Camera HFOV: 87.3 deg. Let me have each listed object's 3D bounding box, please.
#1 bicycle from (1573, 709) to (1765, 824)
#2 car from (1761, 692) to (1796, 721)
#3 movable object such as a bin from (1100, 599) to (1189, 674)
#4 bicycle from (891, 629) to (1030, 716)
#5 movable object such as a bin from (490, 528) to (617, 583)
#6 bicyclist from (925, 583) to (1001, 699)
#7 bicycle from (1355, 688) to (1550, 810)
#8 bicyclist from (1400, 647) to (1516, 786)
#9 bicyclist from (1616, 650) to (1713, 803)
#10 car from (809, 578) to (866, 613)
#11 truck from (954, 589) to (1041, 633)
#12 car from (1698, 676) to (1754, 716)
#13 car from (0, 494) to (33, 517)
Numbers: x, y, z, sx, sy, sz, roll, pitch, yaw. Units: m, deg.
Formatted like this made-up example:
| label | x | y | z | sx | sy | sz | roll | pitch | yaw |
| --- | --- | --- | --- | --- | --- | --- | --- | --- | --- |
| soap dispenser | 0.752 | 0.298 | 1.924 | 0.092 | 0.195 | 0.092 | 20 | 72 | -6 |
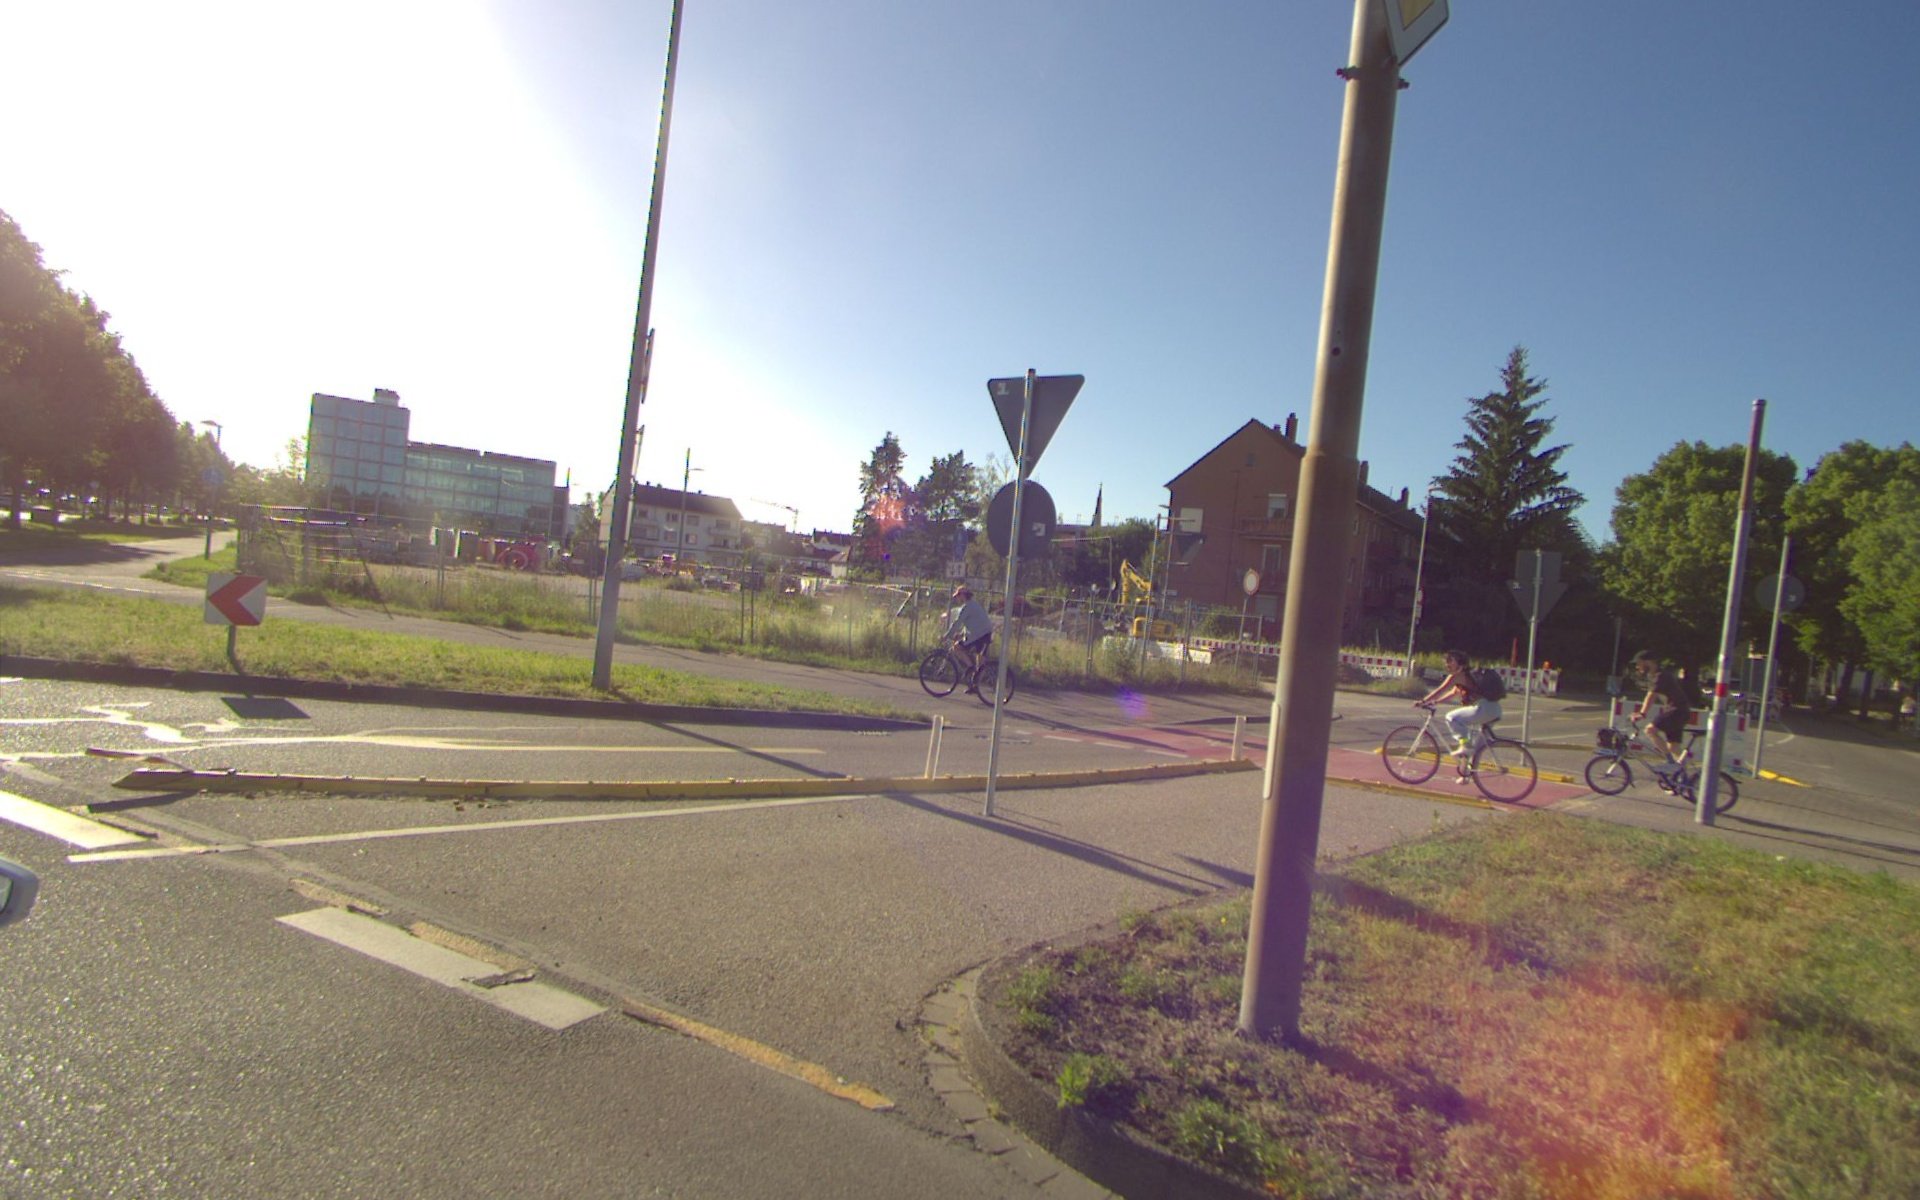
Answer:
| label | x | y | z | sx | sy | sz | roll | pitch | yaw |
| --- | --- | --- | --- | --- | --- | --- | --- | --- | --- |
| bicycle | 8.760 | 2.022 | 12.501 | 1.795 | 1.040 | 0.658 | 8 | 0 | 35 |
| car | 66.231 | 8.629 | 81.437 | 1.971 | 1.894 | 3.986 | 9 | 0 | 39 |
| movable object such as a bin | 8.063 | 1.556 | 44.463 | 2.386 | 2.807 | 3.994 | 8 | 0 | -8 |
| bicycle | 0.002 | 1.123 | 15.916 | 1.973 | 1.042 | 0.741 | 8 | 4 | 19 |
| movable object such as a bin | -28.813 | -3.129 | 71.407 | 7.848 | 2.818 | 2.919 | 7 | 1 | -31 |
| bicyclist | 0.054 | 0.625 | 15.869 | 0.838 | 1.704 | 0.741 | 8 | 4 | 19 |
| bicycle | 5.571 | 1.655 | 11.441 | 1.798 | 1.040 | 0.657 | 6 | -1 | 41 |
| bicyclist | 5.643 | 1.306 | 11.405 | 0.922 | 1.401 | 0.657 | 7 | 0 | 40 |
| bicyclist | 8.763 | 1.547 | 12.526 | 0.800 | 1.751 | 0.652 | 7 | 1 | 36 |
| car | -9.138 | -0.358 | 74.753 | 1.984 | 2.038 | 4.452 | 8 | 0 | -37 |
| truck | 2.273 | 0.647 | 63.331 | 2.149 | 2.038 | 6.384 | 8 | 0 | -30 |
| car | 44.670 | 5.607 | 58.621 | 1.974 | 1.922 | 3.977 | 7 | 0 | 44 |
| car | -80.265 | -8.008 | 85.132 | 1.980 | 1.595 | 4.366 | 6 | 1 | -34 |
